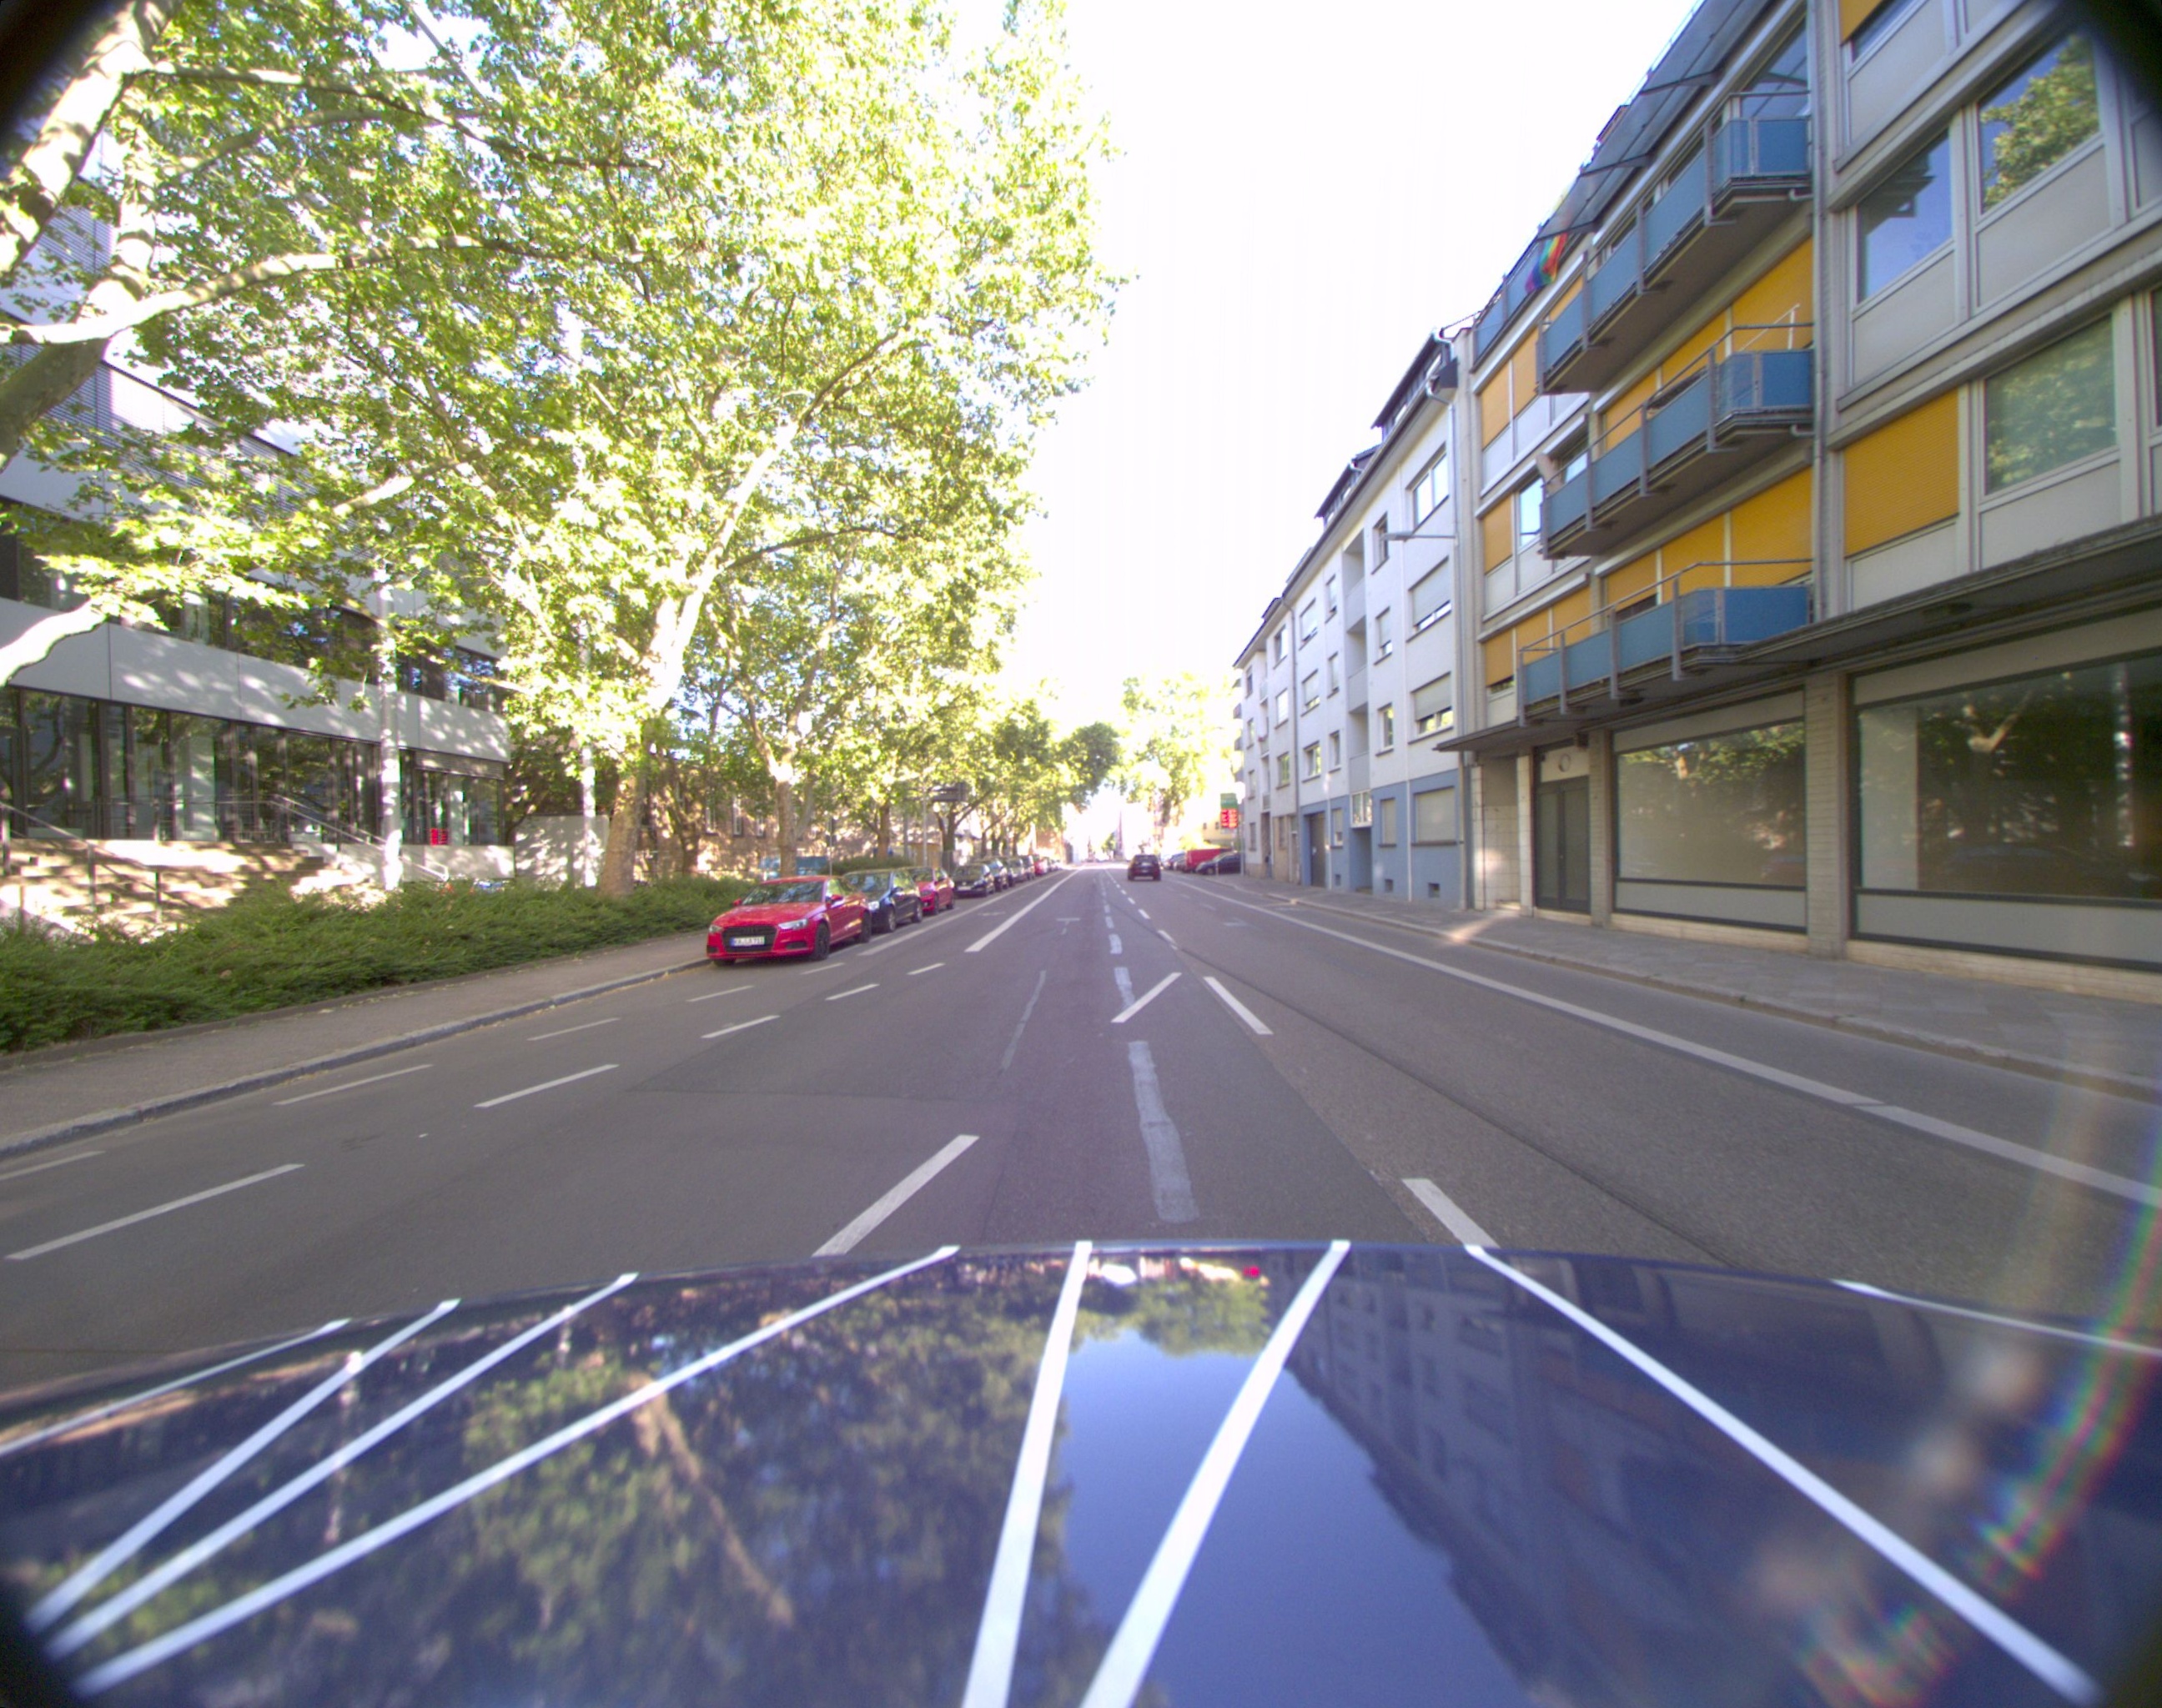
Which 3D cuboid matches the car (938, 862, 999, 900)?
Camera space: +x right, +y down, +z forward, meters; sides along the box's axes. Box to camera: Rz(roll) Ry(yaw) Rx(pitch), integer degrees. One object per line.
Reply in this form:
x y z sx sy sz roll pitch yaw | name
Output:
-4.838 1.132 33.178 1.998 1.447 3.589 -2 1 1 | car

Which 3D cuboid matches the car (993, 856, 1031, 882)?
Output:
-4.571 0.972 50.859 1.998 1.557 4.142 -2 1 1 | car

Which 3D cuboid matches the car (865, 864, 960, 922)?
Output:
-5.129 1.149 23.666 1.998 1.490 3.828 -2 1 1 | car

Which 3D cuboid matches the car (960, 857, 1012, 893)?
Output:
-4.684 1.006 38.117 1.998 1.592 4.142 -2 1 1 | car

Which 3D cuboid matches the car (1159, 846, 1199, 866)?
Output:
10.951 0.221 85.311 4.236 2.025 2.000 -2 1 3 | car

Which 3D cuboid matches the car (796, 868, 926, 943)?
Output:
-5.172 1.167 18.404 1.998 1.452 3.644 -2 1 1 | car

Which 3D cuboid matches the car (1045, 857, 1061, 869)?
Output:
-3.345 1.073 92.736 1.693 1.364 3.999 -2 1 1 | car

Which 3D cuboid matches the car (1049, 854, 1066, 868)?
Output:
-3.182 0.909 103.007 1.998 1.682 3.999 -2 1 1 | car

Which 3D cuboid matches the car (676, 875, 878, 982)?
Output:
-5.188 1.196 13.636 1.907 1.417 3.999 -2 1 1 | car

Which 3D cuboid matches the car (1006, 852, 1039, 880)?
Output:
-4.256 0.845 55.642 1.998 1.838 3.999 -2 1 1 | car

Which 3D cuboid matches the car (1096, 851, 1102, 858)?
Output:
6.173 0.199 259.453 1.998 2.002 3.999 -2 1 1 | car

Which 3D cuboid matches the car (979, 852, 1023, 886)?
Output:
-4.607 0.839 44.515 1.998 1.777 4.572 -2 1 1 | car

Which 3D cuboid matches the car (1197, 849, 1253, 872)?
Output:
10.802 0.453 57.113 3.810 1.563 1.658 -2 1 0 | car

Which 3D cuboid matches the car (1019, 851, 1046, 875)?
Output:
-4.223 0.737 66.321 1.998 1.960 3.999 -2 1 1 | car

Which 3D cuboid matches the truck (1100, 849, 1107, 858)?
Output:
6.885 -0.288 233.821 1.998 2.653 5.314 -2 1 0 | truck

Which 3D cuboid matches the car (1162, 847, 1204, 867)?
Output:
10.865 0.287 80.911 4.236 1.945 2.000 -2 1 3 | car

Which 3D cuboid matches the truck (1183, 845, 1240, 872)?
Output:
10.288 0.323 60.215 4.092 1.913 2.000 -2 1 0 | truck

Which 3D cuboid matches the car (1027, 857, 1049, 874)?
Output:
-4.035 1.083 71.996 1.824 1.466 3.999 -2 1 1 | car

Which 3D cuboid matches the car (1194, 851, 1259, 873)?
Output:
10.457 0.575 54.781 4.324 1.398 1.658 -2 1 0 | car

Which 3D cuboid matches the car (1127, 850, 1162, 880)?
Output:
3.757 0.599 45.452 1.847 1.668 3.999 0 1 1 | car
